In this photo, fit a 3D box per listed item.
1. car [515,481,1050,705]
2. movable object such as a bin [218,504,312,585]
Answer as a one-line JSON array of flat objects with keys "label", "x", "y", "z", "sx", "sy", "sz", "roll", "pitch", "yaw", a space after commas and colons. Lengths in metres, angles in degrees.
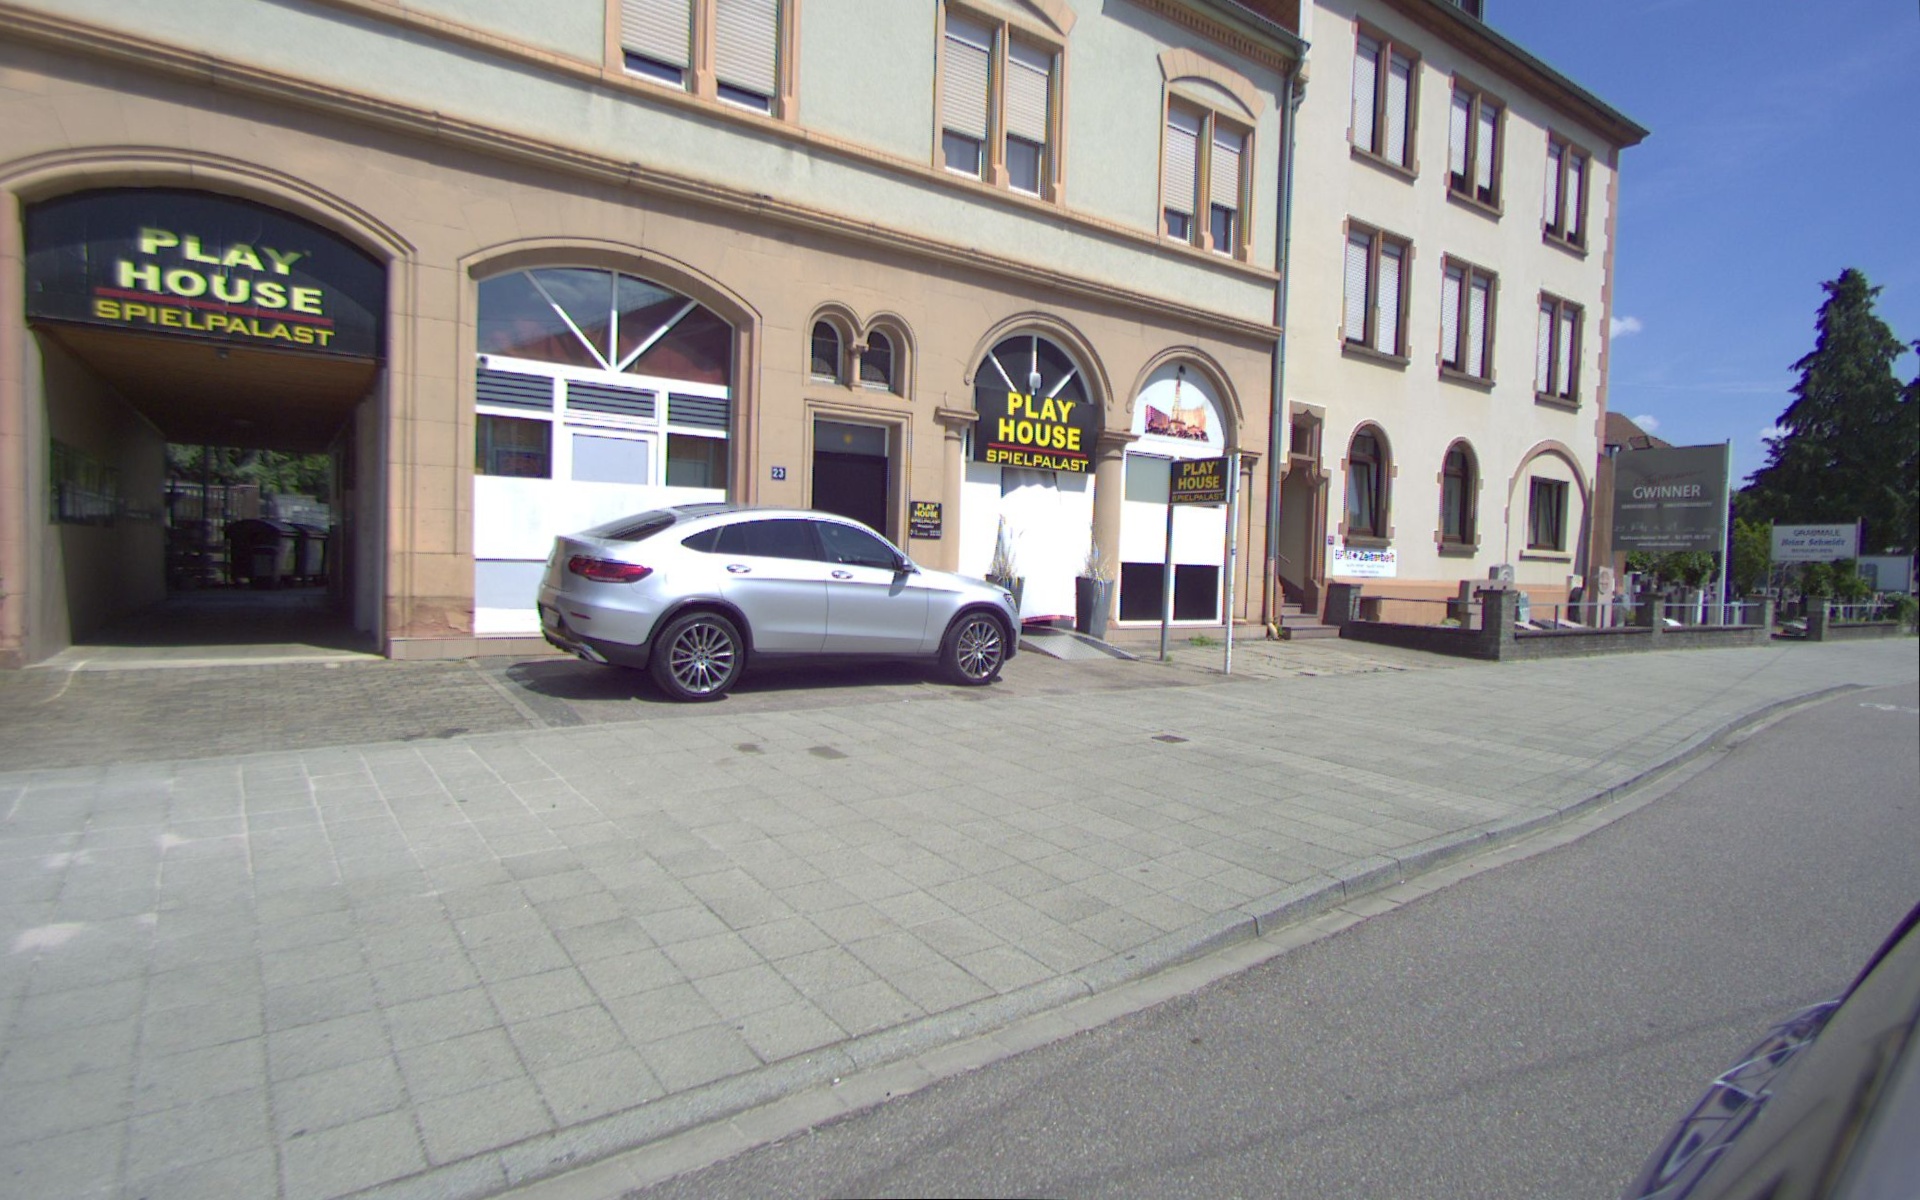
[{"label": "car", "x": -1.530, "y": -0.139, "z": 9.515, "sx": 4.552, "sy": 1.643, "sz": 1.885, "roll": 0, "pitch": 5, "yaw": -36}, {"label": "movable object such as a bin", "x": -14.994, "y": -1.193, "z": 21.899, "sx": 1.193, "sy": 1.651, "sz": 1.773, "roll": 1, "pitch": 2, "yaw": -18}]
